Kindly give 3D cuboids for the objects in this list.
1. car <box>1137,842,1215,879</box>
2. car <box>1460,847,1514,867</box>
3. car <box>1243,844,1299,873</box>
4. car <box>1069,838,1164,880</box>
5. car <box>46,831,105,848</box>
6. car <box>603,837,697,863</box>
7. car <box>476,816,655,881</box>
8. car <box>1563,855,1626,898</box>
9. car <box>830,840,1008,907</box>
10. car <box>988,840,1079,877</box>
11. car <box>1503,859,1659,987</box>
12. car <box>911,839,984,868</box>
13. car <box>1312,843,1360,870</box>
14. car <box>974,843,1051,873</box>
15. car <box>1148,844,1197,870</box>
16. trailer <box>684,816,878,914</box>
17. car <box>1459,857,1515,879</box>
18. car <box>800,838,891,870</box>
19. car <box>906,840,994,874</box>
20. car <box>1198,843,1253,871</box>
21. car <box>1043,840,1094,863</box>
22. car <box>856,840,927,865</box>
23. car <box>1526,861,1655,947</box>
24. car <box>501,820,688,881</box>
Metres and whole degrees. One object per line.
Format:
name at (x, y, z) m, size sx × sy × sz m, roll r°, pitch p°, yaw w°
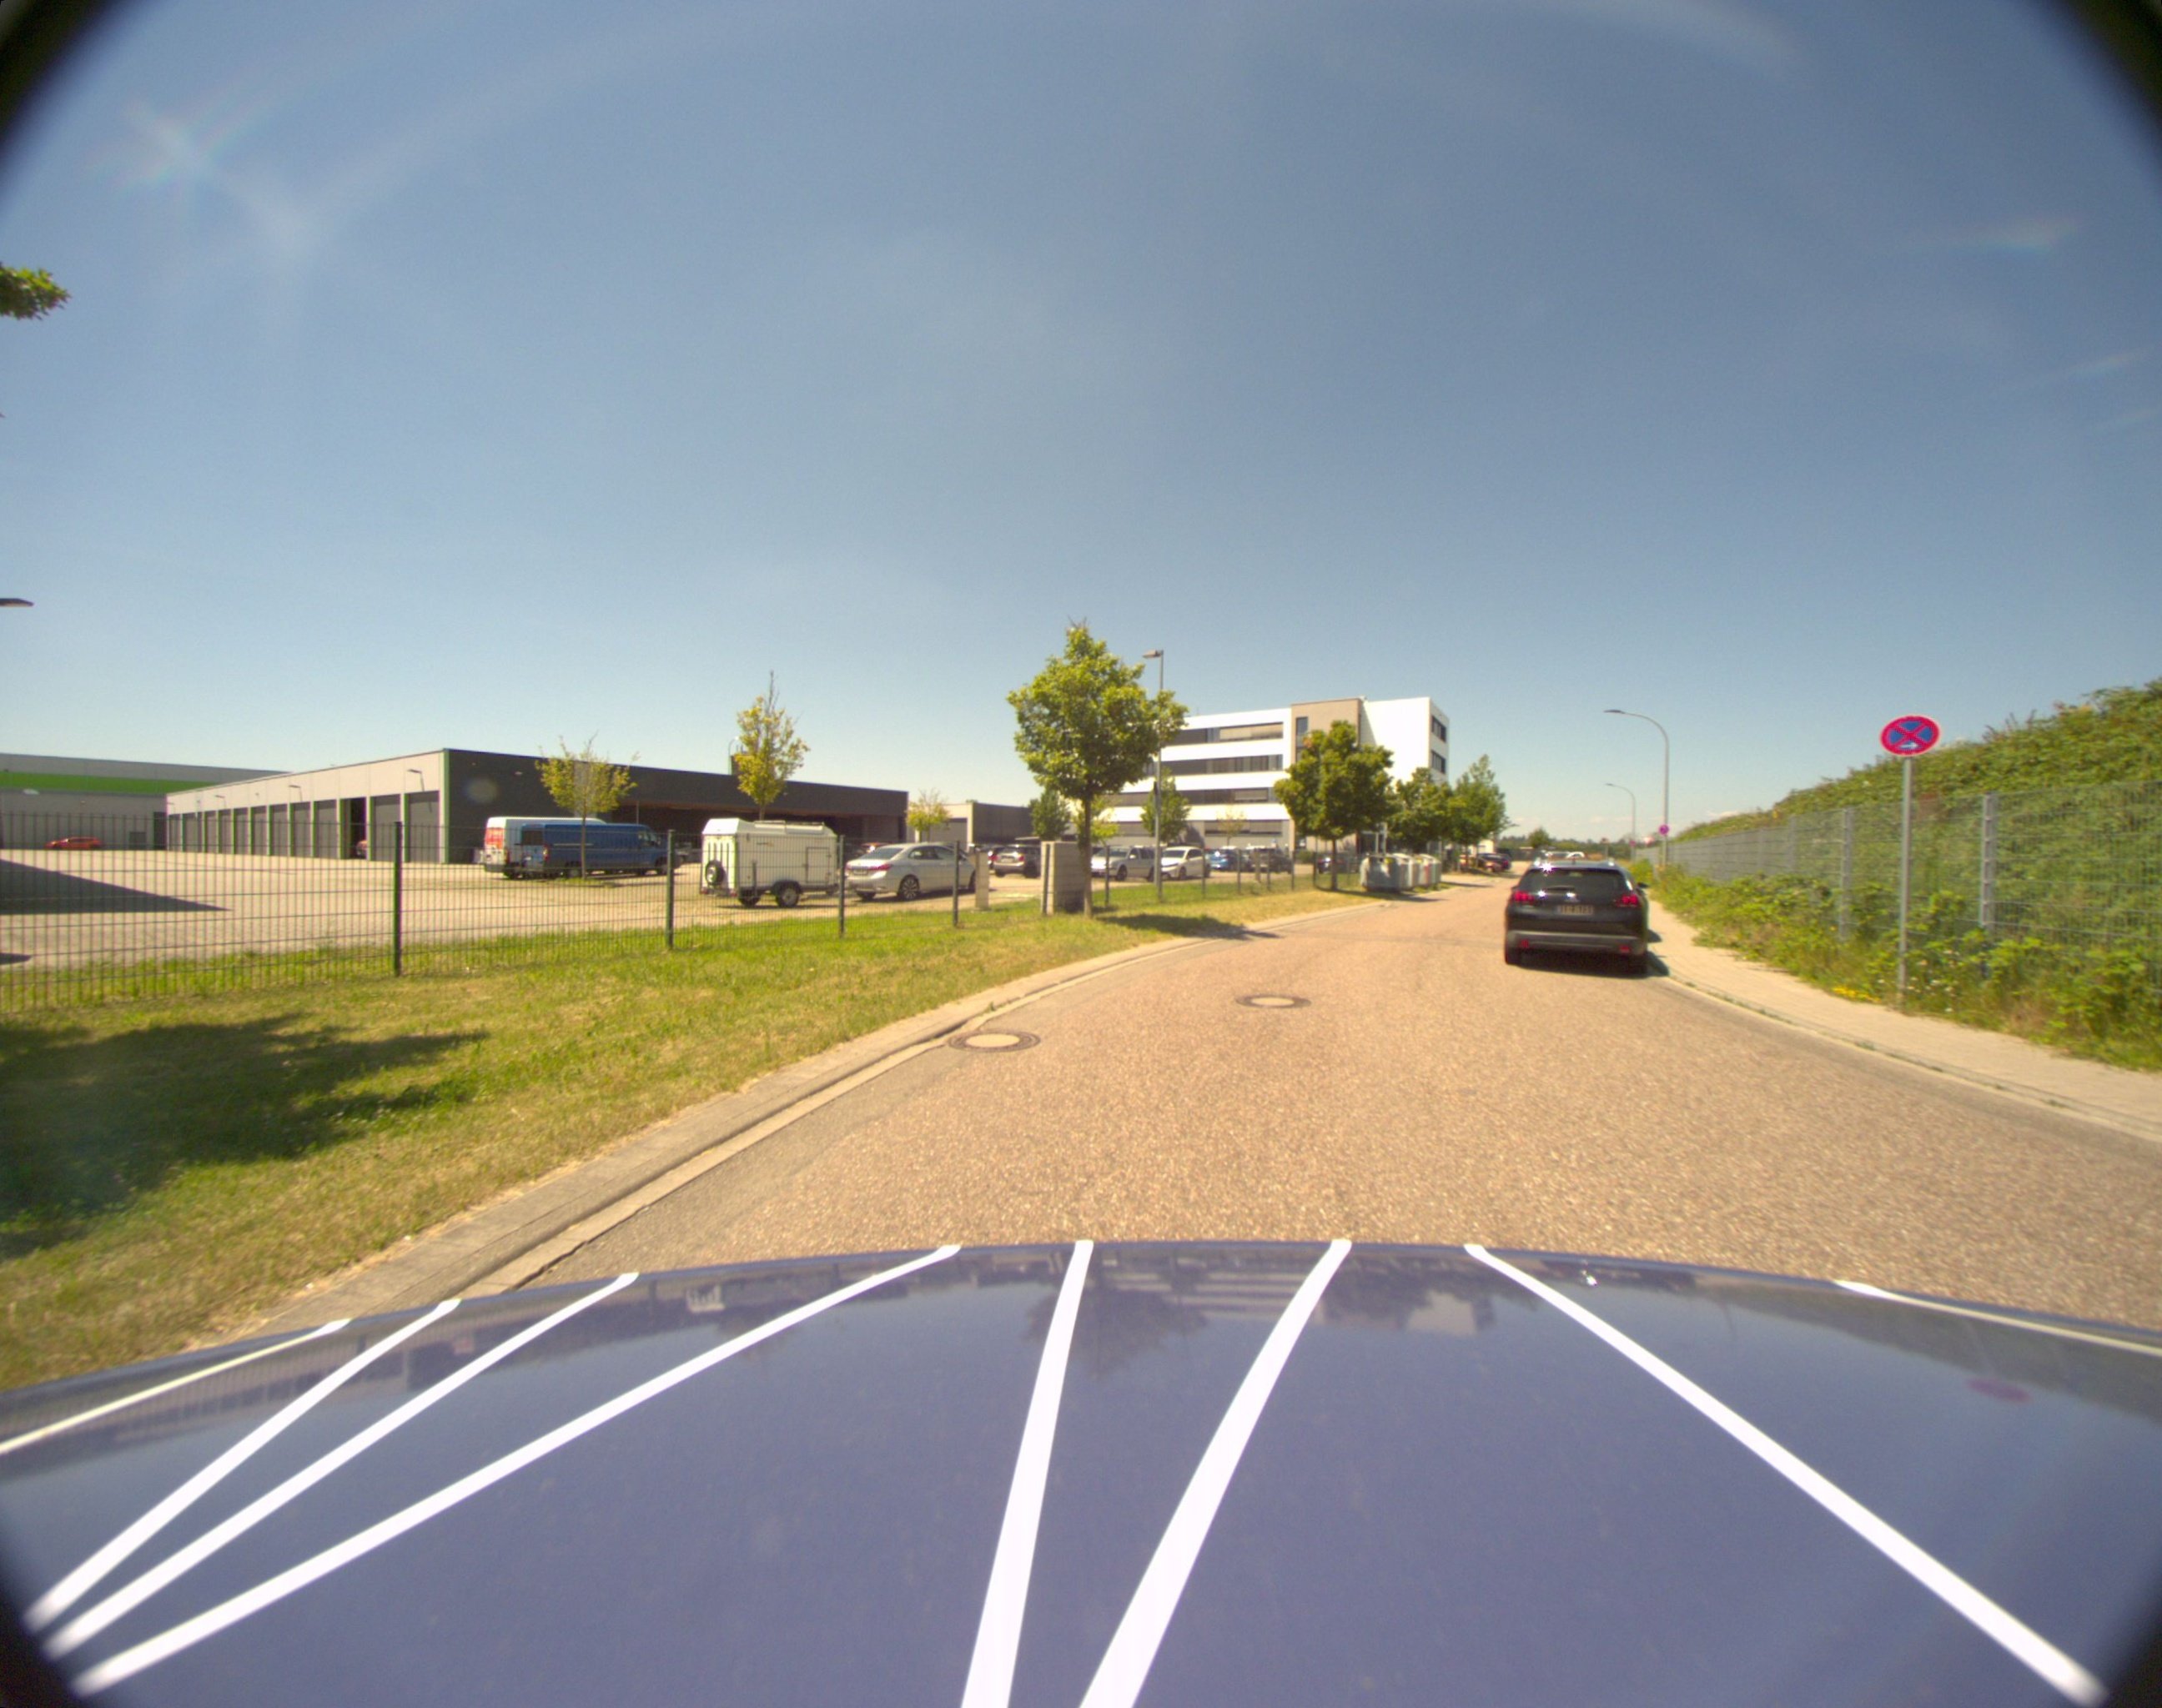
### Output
car at (4.400, 0.264, 34.711) m, size 1.849 × 1.490 × 3.932 m, roll 1°, pitch 3°, yaw 35°
car at (35.519, 0.274, 66.440) m, size 3.989 × 1.630 × 1.894 m, roll -2°, pitch 0°, yaw 33°
car at (11.066, 0.276, 44.067) m, size 1.827 × 1.565 × 3.933 m, roll 2°, pitch 1°, yaw 34°
car at (1.510, 0.236, 30.177) m, size 1.850 × 1.489 × 4.300 m, roll 0°, pitch -2°, yaw 32°
car at (-113.878, -1.653, 86.101) m, size 1.994 × 1.761 × 4.008 m, roll -2°, pitch 0°, yaw 36°
car at (-26.342, -0.243, 46.572) m, size 1.849 × 1.490 × 4.617 m, roll 1°, pitch 0°, yaw 34°
car at (-21.351, -0.325, 31.806) m, size 2.190 × 2.444 × 5.688 m, roll 0°, pitch 3°, yaw 32°
car at (20.272, 0.836, 29.941) m, size 1.849 × 1.510 × 3.956 m, roll 2°, pitch 1°, yaw 36°
car at (-4.325, 0.446, 21.150) m, size 1.850 × 1.490 × 4.864 m, roll 0°, pitch 3°, yaw 34°
car at (-2.014, 0.186, 33.212) m, size 1.849 × 1.490 × 3.933 m, roll 1°, pitch 0°, yaw 35°
car at (7.622, 0.880, 11.660) m, size 1.654 × 1.546 × 4.141 m, roll 2°, pitch 1°, yaw 33°
car at (-7.547, -0.074, 43.205) m, size 1.849 × 1.490 × 3.932 m, roll 1°, pitch 2°, yaw 35°
car at (15.704, 0.183, 46.680) m, size 1.827 × 1.445 × 3.935 m, roll -2°, pitch -4°, yaw 34°
car at (-3.522, 0.204, 39.641) m, size 1.849 × 1.490 × 3.933 m, roll 1°, pitch 0°, yaw 35°
car at (6.667, 0.229, 54.981) m, size 1.827 × 1.634 × 3.935 m, roll -2°, pitch -4°, yaw 36°
trailer at (-6.797, 0.267, 17.545) m, size 1.850 × 1.987 × 3.747 m, roll 0°, pitch -1°, yaw 34°
car at (34.285, 1.176, 64.137) m, size 3.989 × 1.693 × 1.894 m, roll -2°, pitch 0°, yaw 33°
car at (-12.415, -0.011, 40.294) m, size 1.962 × 1.622 × 4.262 m, roll 1°, pitch 0°, yaw 35°
car at (-6.166, 0.138, 36.147) m, size 1.849 × 1.490 × 3.933 m, roll 1°, pitch 0°, yaw 35°
car at (8.714, 0.204, 45.503) m, size 1.827 × 1.445 × 3.935 m, roll -2°, pitch -4°, yaw 34°
car at (-0.909, -0.155, 57.867) m, size 1.827 × 1.527 × 3.935 m, roll -2°, pitch -4°, yaw 36°
car at (-11.626, -0.084, 46.779) m, size 1.849 × 1.490 × 3.933 m, roll 1°, pitch 0°, yaw 35°
car at (10.521, 0.915, 15.836) m, size 1.935 × 1.446 × 4.291 m, roll 2°, pitch 1°, yaw 33°
car at (-19.109, -0.243, 30.198) m, size 2.138 × 2.213 × 5.843 m, roll 2°, pitch 3°, yaw 32°
